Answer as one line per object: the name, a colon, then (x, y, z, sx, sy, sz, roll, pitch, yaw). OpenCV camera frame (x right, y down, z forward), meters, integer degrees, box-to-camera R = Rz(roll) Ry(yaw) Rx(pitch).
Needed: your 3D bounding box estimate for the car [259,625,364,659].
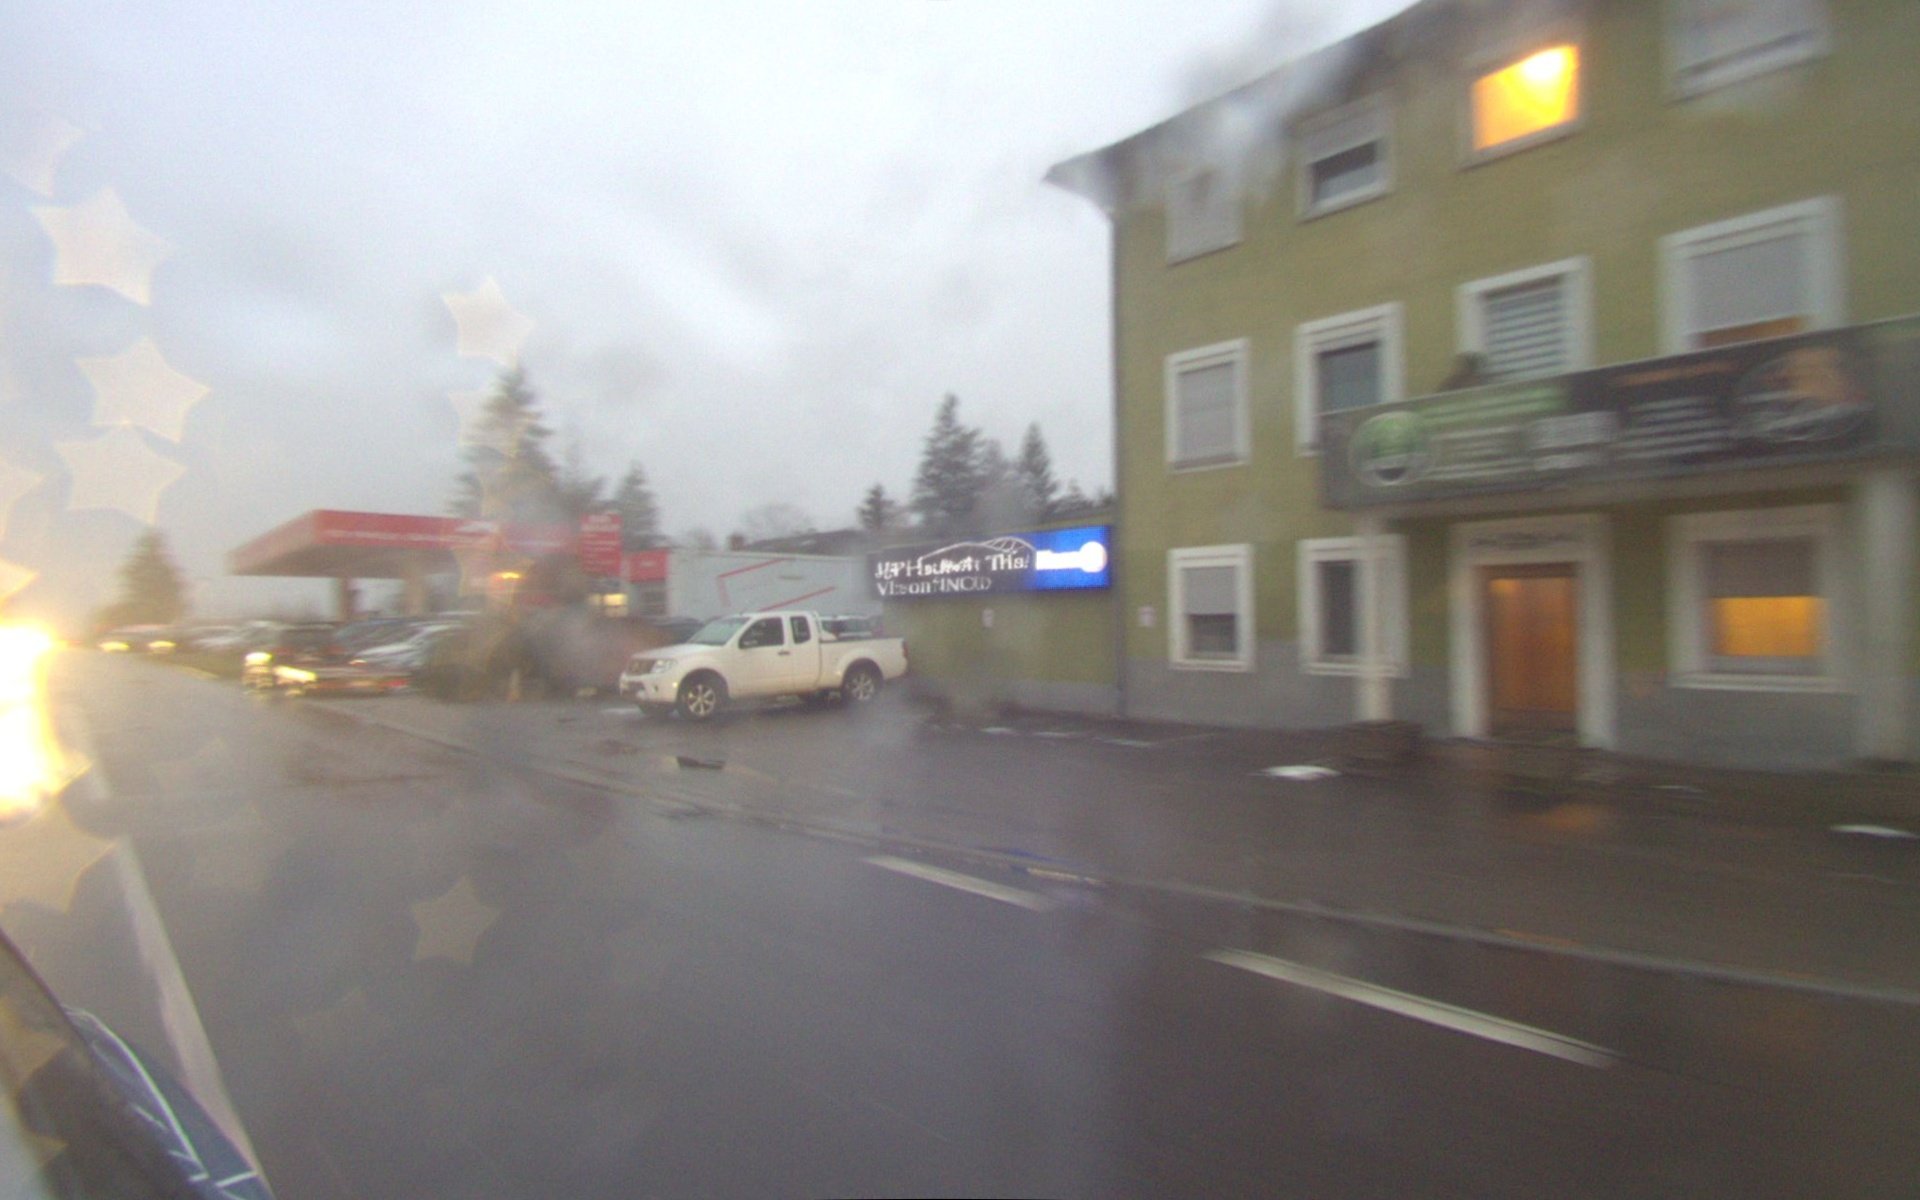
car: (-29.978, 1.919, 46.815, 3.812, 1.452, 1.841, 0, -1, -43)

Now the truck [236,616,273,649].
truck: (-75.840, 3.534, 108.722, 5.853, 3.481, 2.008, -3, -4, 43)

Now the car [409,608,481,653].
car: (-22.922, 1.332, 44.990, 1.863, 1.883, 4.004, 0, -2, -43)

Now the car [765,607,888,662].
car: (-4.323, 1.074, 32.456, 1.970, 1.637, 4.004, 0, -2, -43)

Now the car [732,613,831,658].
car: (-6.527, 1.260, 36.815, 1.714, 1.541, 3.910, 0, -1, -42)

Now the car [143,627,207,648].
car: (-81.408, 3.933, 105.028, 5.084, 2.167, 2.060, 2, -4, -43)

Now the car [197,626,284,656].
car: (-42.778, 2.428, 60.182, 3.983, 1.566, 1.825, -2, -1, -43)

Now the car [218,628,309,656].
car: (-37.613, 2.260, 54.665, 3.812, 1.356, 1.841, 0, -1, -43)

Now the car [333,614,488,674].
car: (-18.688, 1.442, 34.524, 4.226, 1.675, 2.002, -4, 1, -43)

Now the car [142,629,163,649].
car: (-66.122, 3.206, 82.878, 1.156, 1.657, 2.877, 1, -2, -34)

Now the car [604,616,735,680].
car: (-8.233, 1.299, 28.505, 1.970, 1.637, 4.004, 0, -2, -43)

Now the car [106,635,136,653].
car: (-70.062, 3.682, 84.506, 1.552, 1.331, 4.260, 2, -2, -44)

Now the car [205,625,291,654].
car: (-41.105, 2.265, 58.484, 3.813, 1.420, 1.946, -2, 0, -43)

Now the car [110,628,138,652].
car: (-73.653, 3.511, 89.129, 1.812, 2.028, 4.490, 0, -2, -41)

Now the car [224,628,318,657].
car: (-35.666, 2.185, 52.430, 3.812, 1.356, 1.841, 0, -1, -43)

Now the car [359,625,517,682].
car: (-15.403, 1.525, 29.968, 3.846, 1.439, 1.722, -1, 0, -42)

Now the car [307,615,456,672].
car: (-20.721, 1.516, 36.357, 4.226, 1.675, 2.139, -4, 1, -43)

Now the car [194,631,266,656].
car: (-49.592, 2.925, 68.811, 1.777, 1.470, 3.729, -3, -1, 45)

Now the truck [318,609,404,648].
truck: (-73.839, 3.486, 124.977, 3.001, 4.293, 8.608, -2, 0, 36)

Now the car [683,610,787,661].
car: (-7.938, 1.223, 35.509, 1.776, 1.636, 4.005, -2, 0, -42)

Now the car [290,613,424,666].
car: (-24.115, 1.545, 40.535, 4.226, 1.777, 2.002, -4, 1, -43)

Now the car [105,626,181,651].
car: (-86.327, 4.067, 107.000, 6.082, 2.652, 2.178, 2, -4, -43)

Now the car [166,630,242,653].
car: (-55.057, 3.002, 73.709, 4.283, 1.509, 1.828, -1, -1, -42)

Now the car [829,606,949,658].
car: (-2.463, 1.066, 34.290, 1.970, 1.637, 4.004, 0, -2, -43)

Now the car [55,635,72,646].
car: (-125.996, 5.701, 142.189, 1.584, 1.546, 4.004, 2, -3, -43)

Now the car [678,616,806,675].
car: (-6.569, 1.316, 30.306, 1.970, 1.637, 4.004, 0, -2, -43)

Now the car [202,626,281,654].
car: (-46.413, 2.575, 65.379, 3.997, 1.662, 1.944, 0, -2, -41)

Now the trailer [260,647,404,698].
trailer: (-15.710, 1.732, 25.127, 1.969, 1.047, 6.110, 1, -3, -42)

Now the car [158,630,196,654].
car: (-48.682, 2.581, 62.883, 1.662, 1.431, 3.746, 0, -2, -41)

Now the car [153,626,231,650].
car: (-58.710, 2.885, 77.378, 2.010, 1.689, 4.484, -3, -1, 43)

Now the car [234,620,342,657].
car: (-33.546, 1.898, 50.567, 4.230, 1.669, 1.982, 0, -1, -43)

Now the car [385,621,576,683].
car: (-13.425, 1.418, 28.526, 4.503, 1.595, 1.921, 2, -3, -44)

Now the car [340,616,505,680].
car: (-17.083, 1.476, 32.259, 4.226, 1.639, 2.002, -4, 1, -43)

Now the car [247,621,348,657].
car: (-31.735, 1.856, 48.539, 3.812, 1.571, 1.841, 0, -1, -43)

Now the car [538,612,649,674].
car: (-11.896, 1.346, 32.724, 1.970, 1.883, 4.004, 0, -2, -43)

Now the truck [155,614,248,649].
truck: (-71.460, 2.930, 95.452, 6.779, 3.166, 2.336, 0, -2, -44)

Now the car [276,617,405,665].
car: (-25.865, 1.675, 42.314, 4.226, 1.675, 2.002, -4, 1, -43)

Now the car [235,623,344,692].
car: (-19.335, 1.600, 29.102, 1.947, 1.844, 4.517, 2, -3, -42)

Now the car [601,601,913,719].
car: (-3.477, 0.943, 18.024, 5.125, 1.804, 2.003, 0, -1, -41)

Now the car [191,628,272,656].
car: (-44.507, 2.556, 61.851, 3.813, 1.463, 1.841, -2, 0, -43)

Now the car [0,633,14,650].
car: (-95.087, 4.138, 100.235, 1.863, 1.640, 4.002, -1, -1, -45)

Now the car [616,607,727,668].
car: (-9.667, 1.221, 33.779, 1.970, 1.918, 4.004, 0, -2, -43)

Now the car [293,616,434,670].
car: (-22.574, 1.582, 38.397, 4.226, 1.675, 2.002, -4, 1, -43)
